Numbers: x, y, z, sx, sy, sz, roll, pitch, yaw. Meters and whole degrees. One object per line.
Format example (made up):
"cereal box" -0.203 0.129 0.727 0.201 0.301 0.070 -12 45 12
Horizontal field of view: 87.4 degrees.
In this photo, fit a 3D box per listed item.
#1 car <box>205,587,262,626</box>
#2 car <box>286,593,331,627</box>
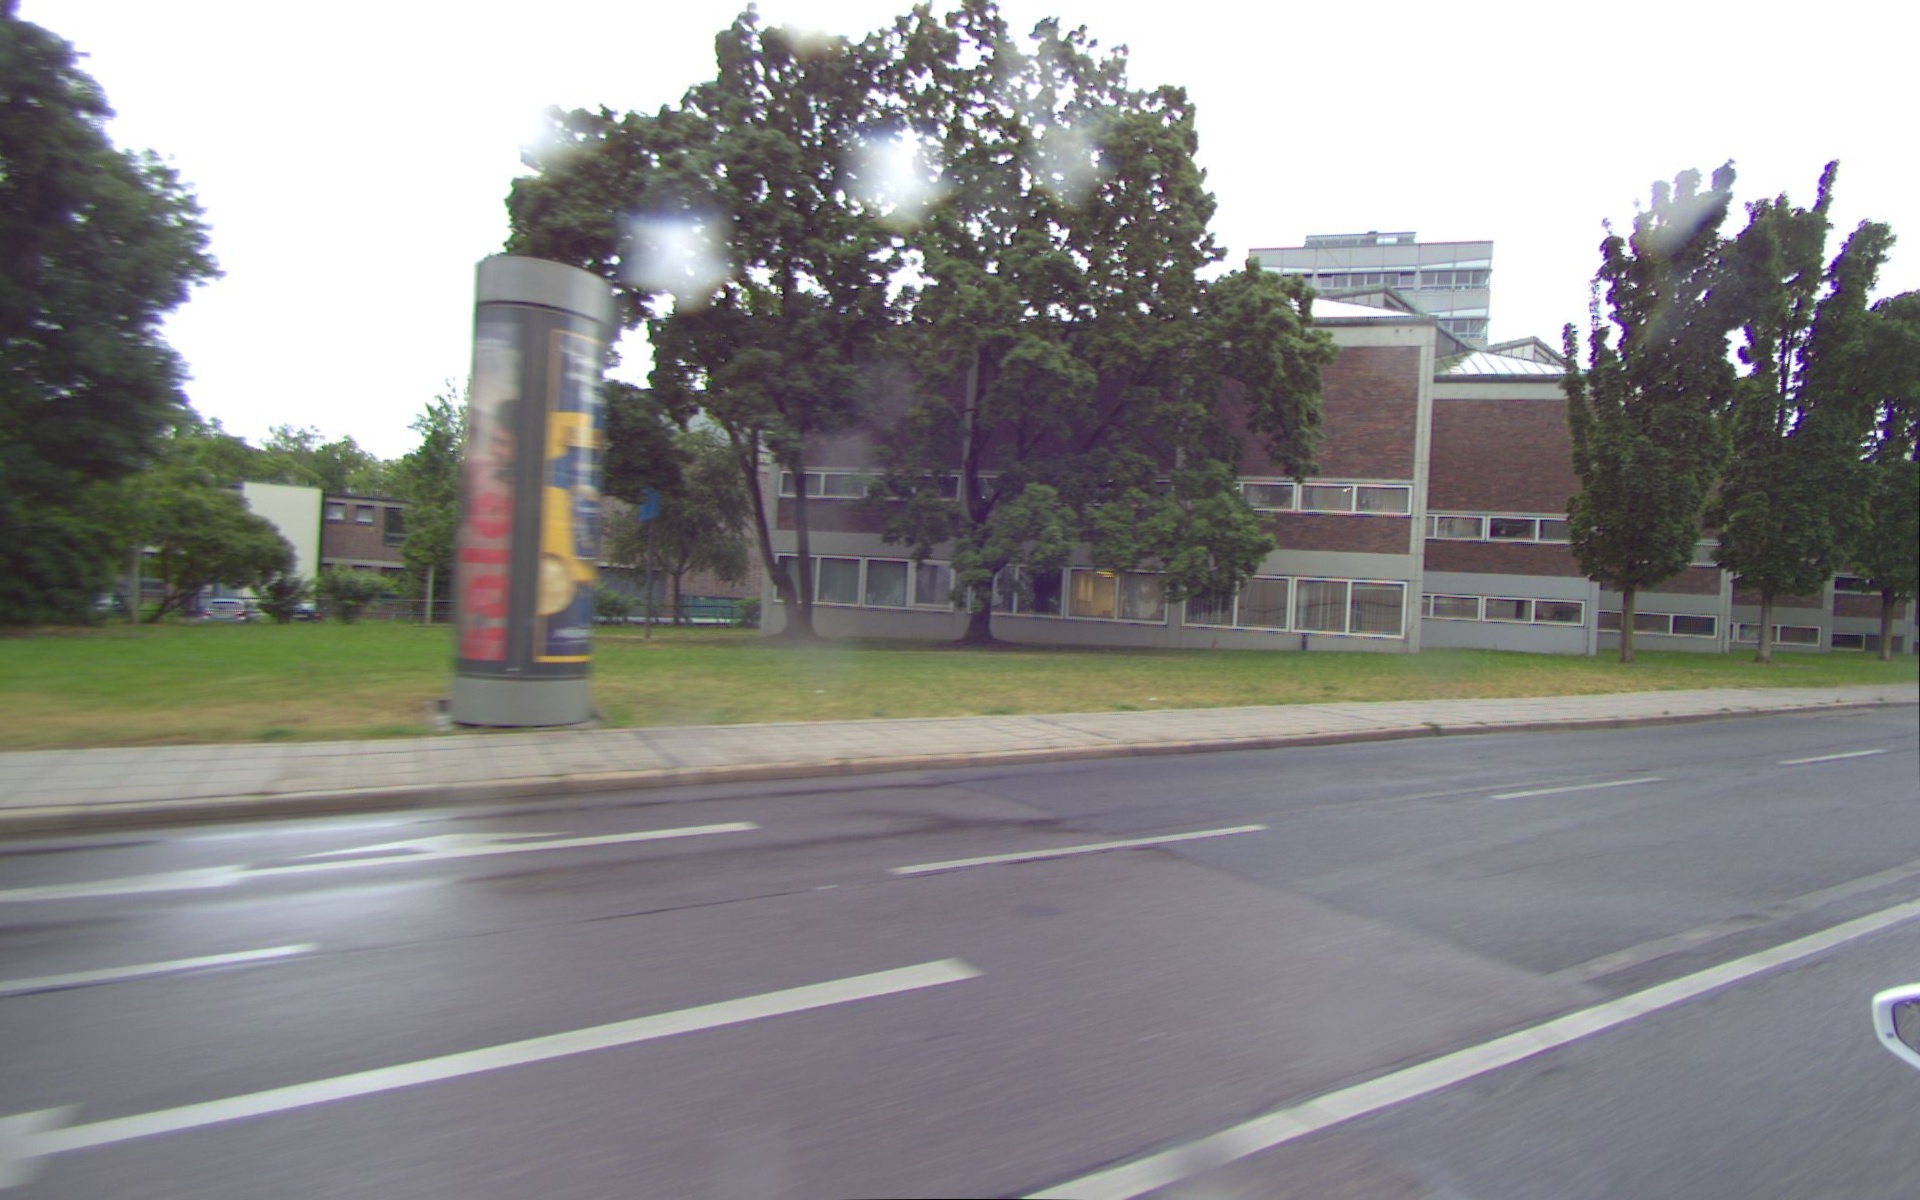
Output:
"car" -32.633 0.279 45.181 1.779 1.539 3.964 3 1 -32
"car" -30.116 0.438 46.469 1.637 1.368 3.815 3 1 -32
